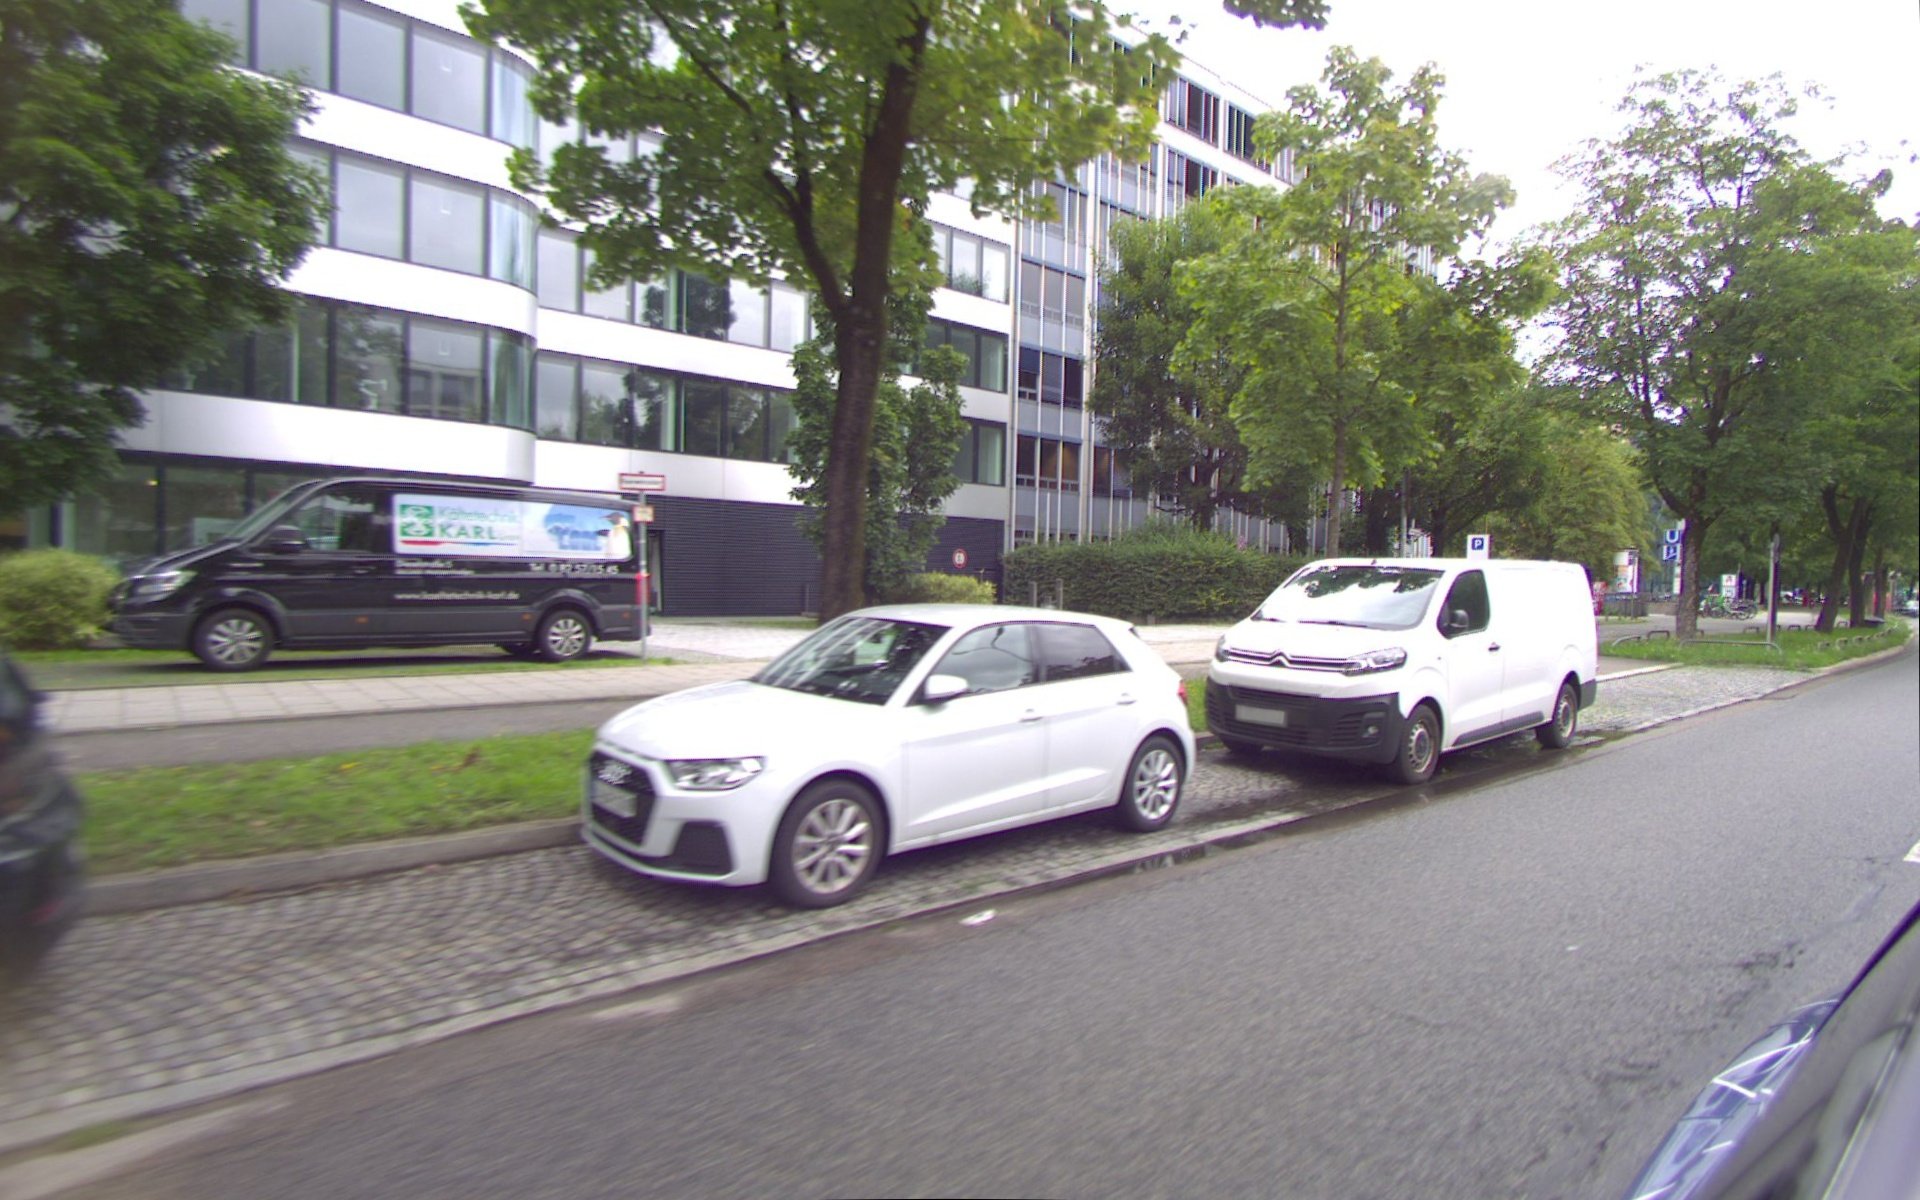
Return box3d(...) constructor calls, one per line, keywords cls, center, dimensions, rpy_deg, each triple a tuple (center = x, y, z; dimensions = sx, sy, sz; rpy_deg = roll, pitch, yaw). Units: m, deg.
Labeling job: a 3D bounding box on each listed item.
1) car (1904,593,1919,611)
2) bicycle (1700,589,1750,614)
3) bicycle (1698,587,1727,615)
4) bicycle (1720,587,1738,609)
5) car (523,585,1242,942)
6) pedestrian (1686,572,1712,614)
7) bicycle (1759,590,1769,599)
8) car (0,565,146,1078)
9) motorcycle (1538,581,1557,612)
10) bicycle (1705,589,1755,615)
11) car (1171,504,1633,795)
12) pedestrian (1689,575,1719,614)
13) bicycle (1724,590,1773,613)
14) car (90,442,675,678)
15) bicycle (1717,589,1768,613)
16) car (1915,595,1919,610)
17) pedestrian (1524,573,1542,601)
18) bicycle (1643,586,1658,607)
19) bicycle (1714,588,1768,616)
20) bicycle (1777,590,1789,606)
box3d(cls="car", center=(88.988, 0.179, 93.806), dimensions=(4.526, 1.610, 1.863), rpy_deg=(0, 2, -44))
box3d(cls="bicycle", center=(39.333, 0.070, 52.036), dimensions=(1.920, 1.096, 0.596), rpy_deg=(4, 1, 5))
box3d(cls="bicycle", center=(36.258, 0.032, 48.747), dimensions=(1.826, 1.241, 0.532), rpy_deg=(3, 2, -37))
box3d(cls="bicycle", center=(42.474, -0.100, 55.900), dimensions=(1.922, 1.203, 0.488), rpy_deg=(0, 2, -44))
box3d(cls="car", center=(-0.232, 0.669, 6.177), dimensions=(4.158, 1.414, 1.705), rpy_deg=(0, 2, -40))
box3d(cls="pedestrian", center=(34.416, -0.348, 47.122), dimensions=(0.733, 1.923, 0.654), rpy_deg=(1, 1, -27))
box3d(cls="bicycle", center=(93.361, -0.621, 117.506), dimensions=(2.029, 0.952, 0.571), rpy_deg=(-1, 3, -43))
box3d(cls="car", center=(-4.577, 0.627, 2.547), dimensions=(3.908, 1.464, 1.705), rpy_deg=(0, 2, -40))
box3d(cls="motorcycle", center=(26.289, -0.155, 45.298), dimensions=(0.546, 1.335, 2.048), rpy_deg=(2, 2, 34))
box3d(cls="bicycle", center=(39.002, 0.076, 51.277), dimensions=(1.920, 1.122, 0.580), rpy_deg=(5, 1, 5))
box3d(cls="car", center=(4.648, 0.334, 10.129), dimensions=(5.457, 2.184, 1.992), rpy_deg=(0, 2, -40))
box3d(cls="pedestrian", center=(33.959, -0.243, 46.181), dimensions=(0.735, 1.735, 0.787), rpy_deg=(1, 1, -27))
box3d(cls="bicycle", center=(42.516, 0.069, 54.550), dimensions=(1.996, 1.112, 0.580), rpy_deg=(4, 4, 5))
box3d(cls="car", center=(-7.053, -0.449, 12.969), dimensions=(6.161, 2.335, 2.268), rpy_deg=(0, 2, -42))
box3d(cls="bicycle", center=(41.366, 0.049, 53.506), dimensions=(2.005, 1.102, 0.604), rpy_deg=(3, 4, 5))
box3d(cls="car", center=(95.968, 0.295, 100.267), dimensions=(4.123, 1.398, 1.625), rpy_deg=(0, 3, -43))
box3d(cls="pedestrian", center=(37.073, -0.846, 65.474), dimensions=(0.754, 1.794, 0.689), rpy_deg=(1, 1, -30))
box3d(cls="bicycle", center=(40.366, -0.186, 59.166), dimensions=(0.510, 1.203, 2.112), rpy_deg=(2, 2, 38))
box3d(cls="bicycle", center=(38.745, 0.097, 50.234), dimensions=(1.927, 1.203, 0.594), rpy_deg=(5, 2, 16))
box3d(cls="bicycle", center=(68.118, -0.189, 83.785), dimensions=(0.620, 1.265, 1.891), rpy_deg=(3, 2, 42))
